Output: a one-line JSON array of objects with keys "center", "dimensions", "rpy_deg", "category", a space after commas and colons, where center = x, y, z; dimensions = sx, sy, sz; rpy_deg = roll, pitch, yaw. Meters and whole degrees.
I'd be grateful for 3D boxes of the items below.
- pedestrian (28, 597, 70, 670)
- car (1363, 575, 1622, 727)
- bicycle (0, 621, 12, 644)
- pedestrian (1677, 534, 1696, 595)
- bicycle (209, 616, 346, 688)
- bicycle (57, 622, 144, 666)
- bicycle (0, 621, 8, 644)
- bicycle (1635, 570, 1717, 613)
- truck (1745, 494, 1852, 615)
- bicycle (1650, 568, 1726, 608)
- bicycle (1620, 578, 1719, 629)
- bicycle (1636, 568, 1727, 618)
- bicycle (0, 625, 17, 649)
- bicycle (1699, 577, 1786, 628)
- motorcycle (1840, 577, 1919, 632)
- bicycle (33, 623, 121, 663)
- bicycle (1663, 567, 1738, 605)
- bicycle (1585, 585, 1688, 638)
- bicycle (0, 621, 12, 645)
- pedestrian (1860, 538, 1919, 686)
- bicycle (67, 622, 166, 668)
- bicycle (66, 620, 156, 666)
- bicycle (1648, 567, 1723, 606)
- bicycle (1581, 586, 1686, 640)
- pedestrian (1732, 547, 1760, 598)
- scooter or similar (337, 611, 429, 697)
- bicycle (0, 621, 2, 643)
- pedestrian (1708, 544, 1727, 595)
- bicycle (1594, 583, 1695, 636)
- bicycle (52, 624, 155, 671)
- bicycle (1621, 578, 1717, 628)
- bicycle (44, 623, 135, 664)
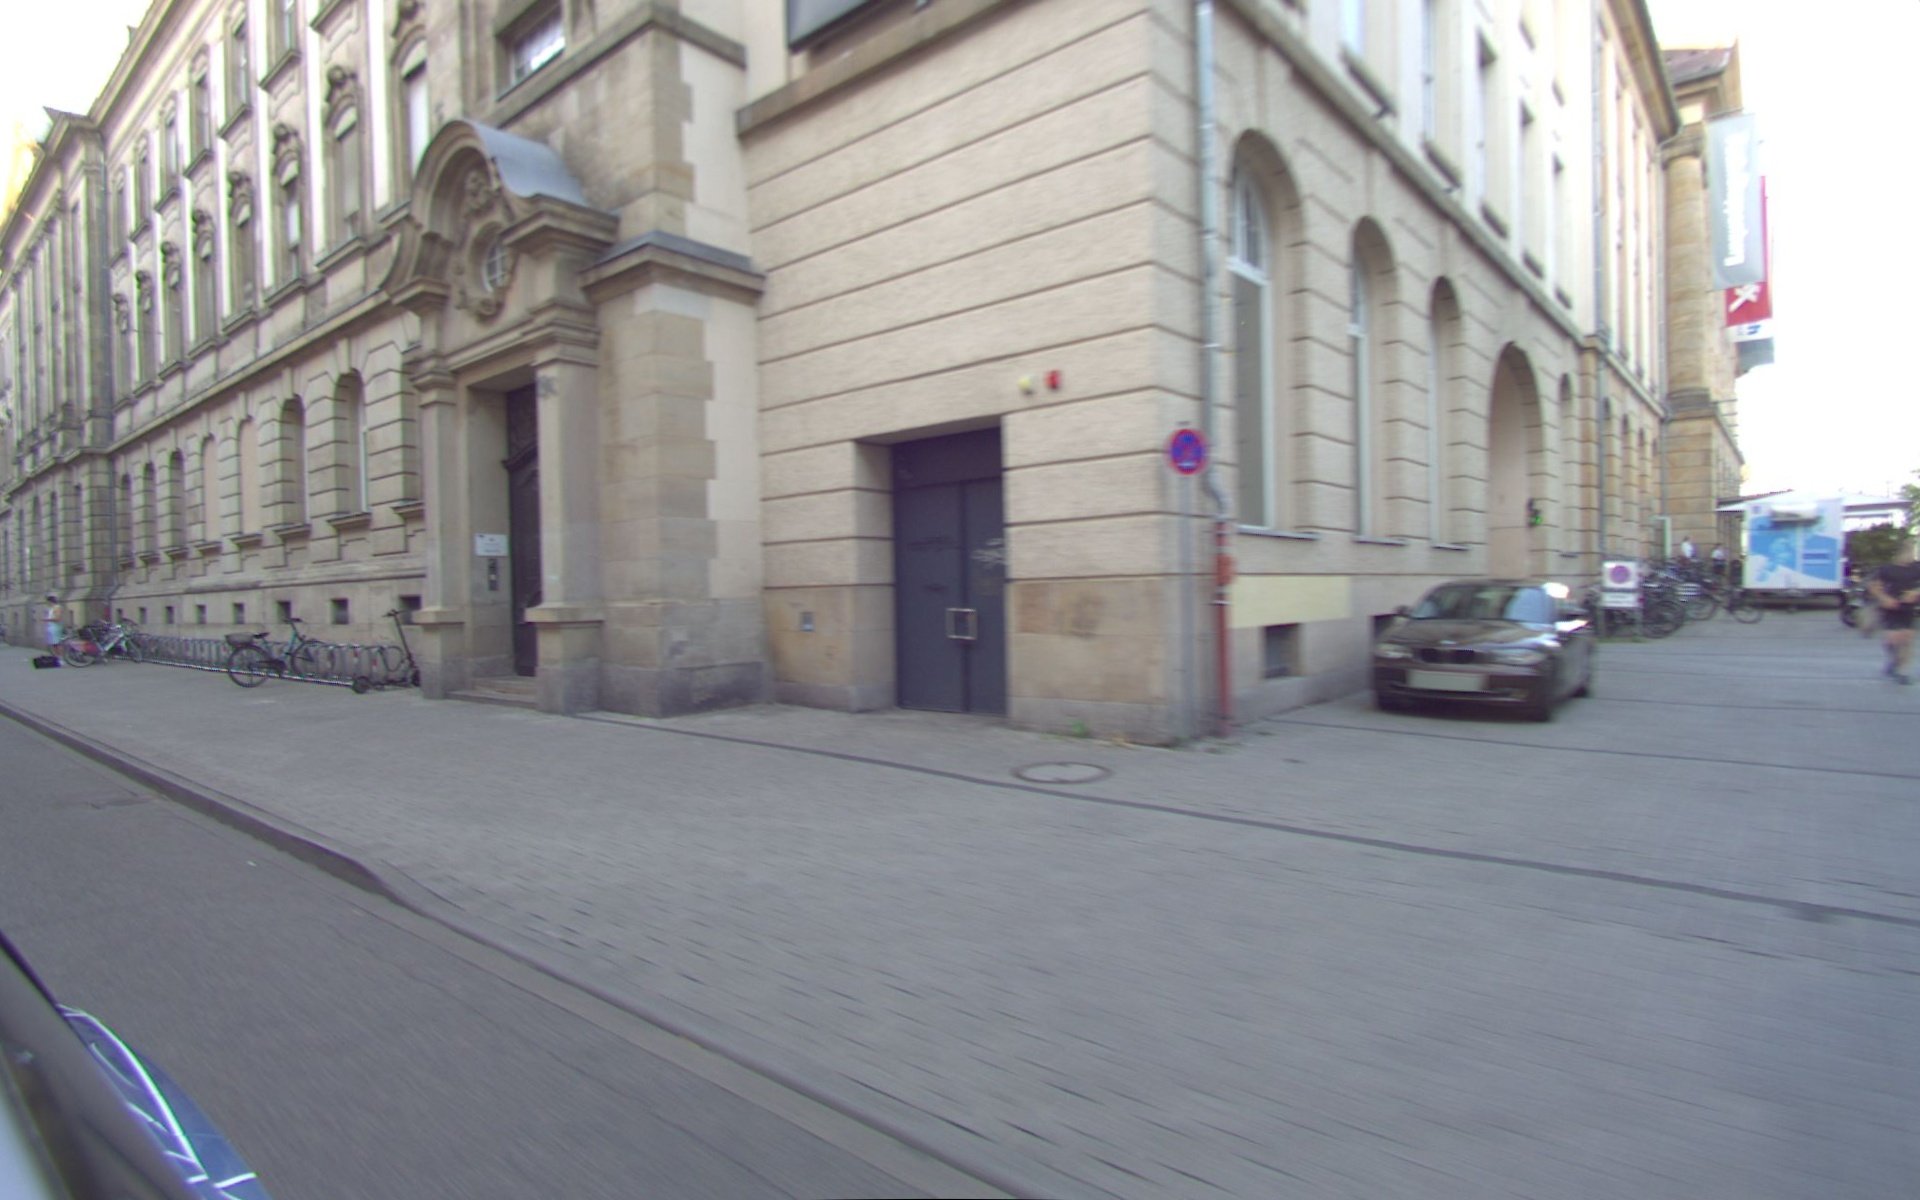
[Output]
[{"center": [-23.947, 0.877, 26.603], "dimensions": [0.753, 1.865, 0.583], "rpy_deg": [-2, 1, 36], "category": "pedestrian"}, {"center": [6.062, 0.471, 11.285], "dimensions": [1.749, 1.381, 3.964], "rpy_deg": [-2, -1, 40], "category": "car"}, {"center": [-46.654, 1.600, 48.304], "dimensions": [0.728, 1.086, 1.921], "rpy_deg": [-1, 2, 34], "category": "bicycle"}, {"center": [24.538, -1.177, 34.180], "dimensions": [0.476, 2.029, 0.535], "rpy_deg": [-1, 0, 36], "category": "pedestrian"}, {"center": [-12.125, 0.893, 18.057], "dimensions": [0.616, 1.069, 1.927], "rpy_deg": [-1, 3, 26], "category": "bicycle"}, {"center": [-24.157, 1.216, 28.467], "dimensions": [0.499, 1.116, 1.779], "rpy_deg": [-1, 2, 35], "category": "bicycle"}, {"center": [-47.278, 1.625, 48.760], "dimensions": [0.728, 1.086, 1.921], "rpy_deg": [-1, 2, 34], "category": "bicycle"}, {"center": [19.664, -0.219, 27.834], "dimensions": [1.796, 1.116, 0.494], "rpy_deg": [-2, 1, 36], "category": "bicycle"}, {"center": [22.017, -1.195, 26.561], "dimensions": [1.999, 2.900, 3.946], "rpy_deg": [-1, 2, 41], "category": "truck"}, {"center": [21.567, -0.354, 30.003], "dimensions": [1.797, 1.116, 0.494], "rpy_deg": [-2, 1, 38], "category": "bicycle"}, {"center": [16.488, 0.094, 23.564], "dimensions": [1.791, 1.116, 0.495], "rpy_deg": [-2, 1, 28], "category": "bicycle"}, {"center": [18.346, -0.174, 25.769], "dimensions": [0.492, 1.215, 1.805], "rpy_deg": [-3, 1, -30], "category": "bicycle"}, {"center": [-45.041, 1.743, 46.825], "dimensions": [0.720, 1.053, 1.918], "rpy_deg": [-2, 1, 36], "category": "bicycle"}, {"center": [18.043, 0.041, 23.395], "dimensions": [0.493, 1.116, 1.802], "rpy_deg": [-2, 1, -4], "category": "bicycle"}, {"center": [19.668, 0.079, 20.313], "dimensions": [1.035, 1.081, 2.882], "rpy_deg": [-1, -1, -40], "category": "motorcycle"}, {"center": [-26.780, 1.278, 30.730], "dimensions": [0.619, 1.069, 1.918], "rpy_deg": [-1, 2, 40], "category": "bicycle"}, {"center": [22.692, -0.427, 31.058], "dimensions": [1.793, 1.116, 0.495], "rpy_deg": [-2, 1, 31], "category": "bicycle"}, {"center": [14.788, 0.254, 22.151], "dimensions": [1.800, 1.116, 0.493], "rpy_deg": [-1, 1, 44], "category": "bicycle"}, {"center": [-45.786, 1.598, 47.372], "dimensions": [0.747, 1.086, 1.918], "rpy_deg": [-1, 2, 40], "category": "bicycle"}, {"center": [11.995, 0.150, 12.779], "dimensions": [0.873, 1.815, 0.776], "rpy_deg": [-2, -1, 44], "category": "pedestrian"}, {"center": [-22.614, 1.187, 27.172], "dimensions": [0.618, 1.069, 1.921], "rpy_deg": [-1, 2, 35], "category": "bicycle"}, {"center": [-23.223, 1.168, 27.714], "dimensions": [0.499, 1.116, 1.779], "rpy_deg": [-1, 2, 35], "category": "bicycle"}, {"center": [22.008, -0.391, 30.729], "dimensions": [1.793, 1.116, 0.495], "rpy_deg": [-2, 1, 31], "category": "bicycle"}, {"center": [14.370, 0.280, 21.633], "dimensions": [1.800, 1.116, 0.493], "rpy_deg": [-1, 1, 44], "category": "bicycle"}, {"center": [24.989, -0.884, 32.173], "dimensions": [0.649, 1.593, 0.642], "rpy_deg": [-2, 1, 36], "category": "pedestrian"}, {"center": [-9.024, 0.825, 15.857], "dimensions": [0.495, 1.242, 1.125], "rpy_deg": [-2, 1, 29], "category": "scooter or similar"}, {"center": [-48.321, 1.648, 49.564], "dimensions": [0.728, 1.086, 1.921], "rpy_deg": [-1, 2, 34], "category": "bicycle"}, {"center": [25.433, -1.025, 33.996], "dimensions": [0.476, 1.697, 0.535], "rpy_deg": [-1, 0, 36], "category": "pedestrian"}, {"center": [15.261, 0.219, 22.598], "dimensions": [1.800, 1.116, 0.493], "rpy_deg": [-1, 1, 44], "category": "bicycle"}, {"center": [-22.109, 1.201, 26.161], "dimensions": [0.619, 1.069, 1.918], "rpy_deg": [0, 2, 39], "category": "bicycle"}, {"center": [16.881, 0.074, 24.124], "dimensions": [1.791, 1.116, 0.496], "rpy_deg": [-2, 1, 27], "category": "bicycle"}, {"center": [-25.765, 1.273, 29.997], "dimensions": [0.618, 1.069, 1.921], "rpy_deg": [-1, 2, 35], "category": "bicycle"}]
